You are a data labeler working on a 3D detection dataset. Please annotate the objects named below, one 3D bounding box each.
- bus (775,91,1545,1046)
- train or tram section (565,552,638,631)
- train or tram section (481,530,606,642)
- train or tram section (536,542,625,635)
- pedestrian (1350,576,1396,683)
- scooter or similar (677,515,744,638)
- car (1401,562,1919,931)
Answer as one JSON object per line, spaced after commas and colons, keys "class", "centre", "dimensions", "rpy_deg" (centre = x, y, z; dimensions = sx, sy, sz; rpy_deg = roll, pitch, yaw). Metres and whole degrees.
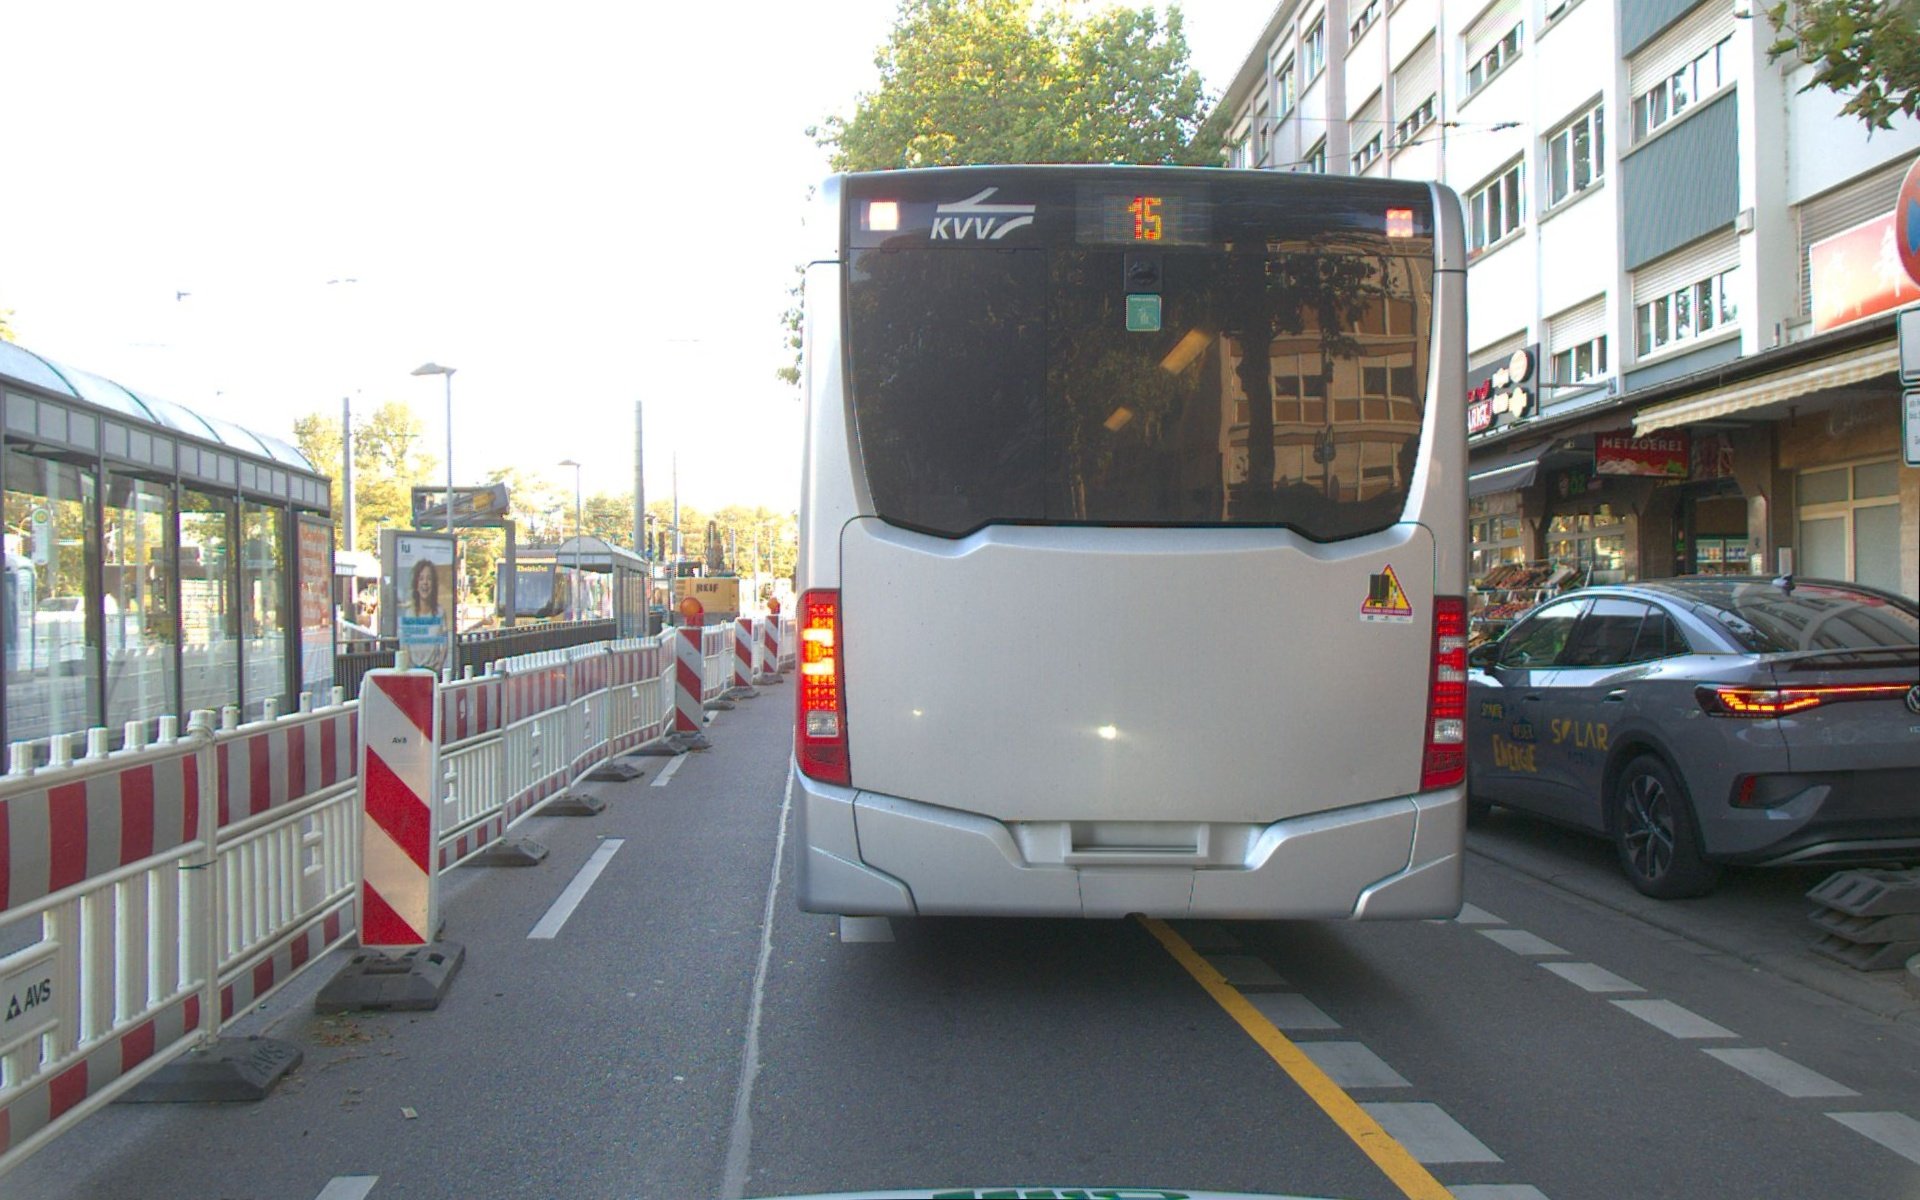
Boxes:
{"class": "bus", "centre": [0.637, -0.092, 9.605], "dimensions": [2.558, 3.181, 7.991], "rpy_deg": [1, 0, -1]}
{"class": "train or tram section", "centre": [-17.768, -0.382, 82.592], "dimensions": [2.636, 3.594, 11.560], "rpy_deg": [1, 0, -8]}
{"class": "train or tram section", "centre": [-14.786, -0.429, 59.623], "dimensions": [2.634, 3.595, 11.756], "rpy_deg": [1, 0, -6]}
{"class": "train or tram section", "centre": [-16.177, -0.446, 71.151], "dimensions": [2.636, 3.621, 11.560], "rpy_deg": [1, 0, -8]}
{"class": "pedestrian", "centre": [6.688, 0.471, 26.778], "dimensions": [0.649, 1.696, 0.601], "rpy_deg": [-2, -1, 15]}
{"class": "scooter or similar", "centre": [-9.635, -0.868, 64.251], "dimensions": [2.422, 4.549, 5.962], "rpy_deg": [0, 0, -8]}
{"class": "car", "centre": [4.358, 0.634, 9.757], "dimensions": [1.955, 1.609, 4.363], "rpy_deg": [-3, 1, -5]}
